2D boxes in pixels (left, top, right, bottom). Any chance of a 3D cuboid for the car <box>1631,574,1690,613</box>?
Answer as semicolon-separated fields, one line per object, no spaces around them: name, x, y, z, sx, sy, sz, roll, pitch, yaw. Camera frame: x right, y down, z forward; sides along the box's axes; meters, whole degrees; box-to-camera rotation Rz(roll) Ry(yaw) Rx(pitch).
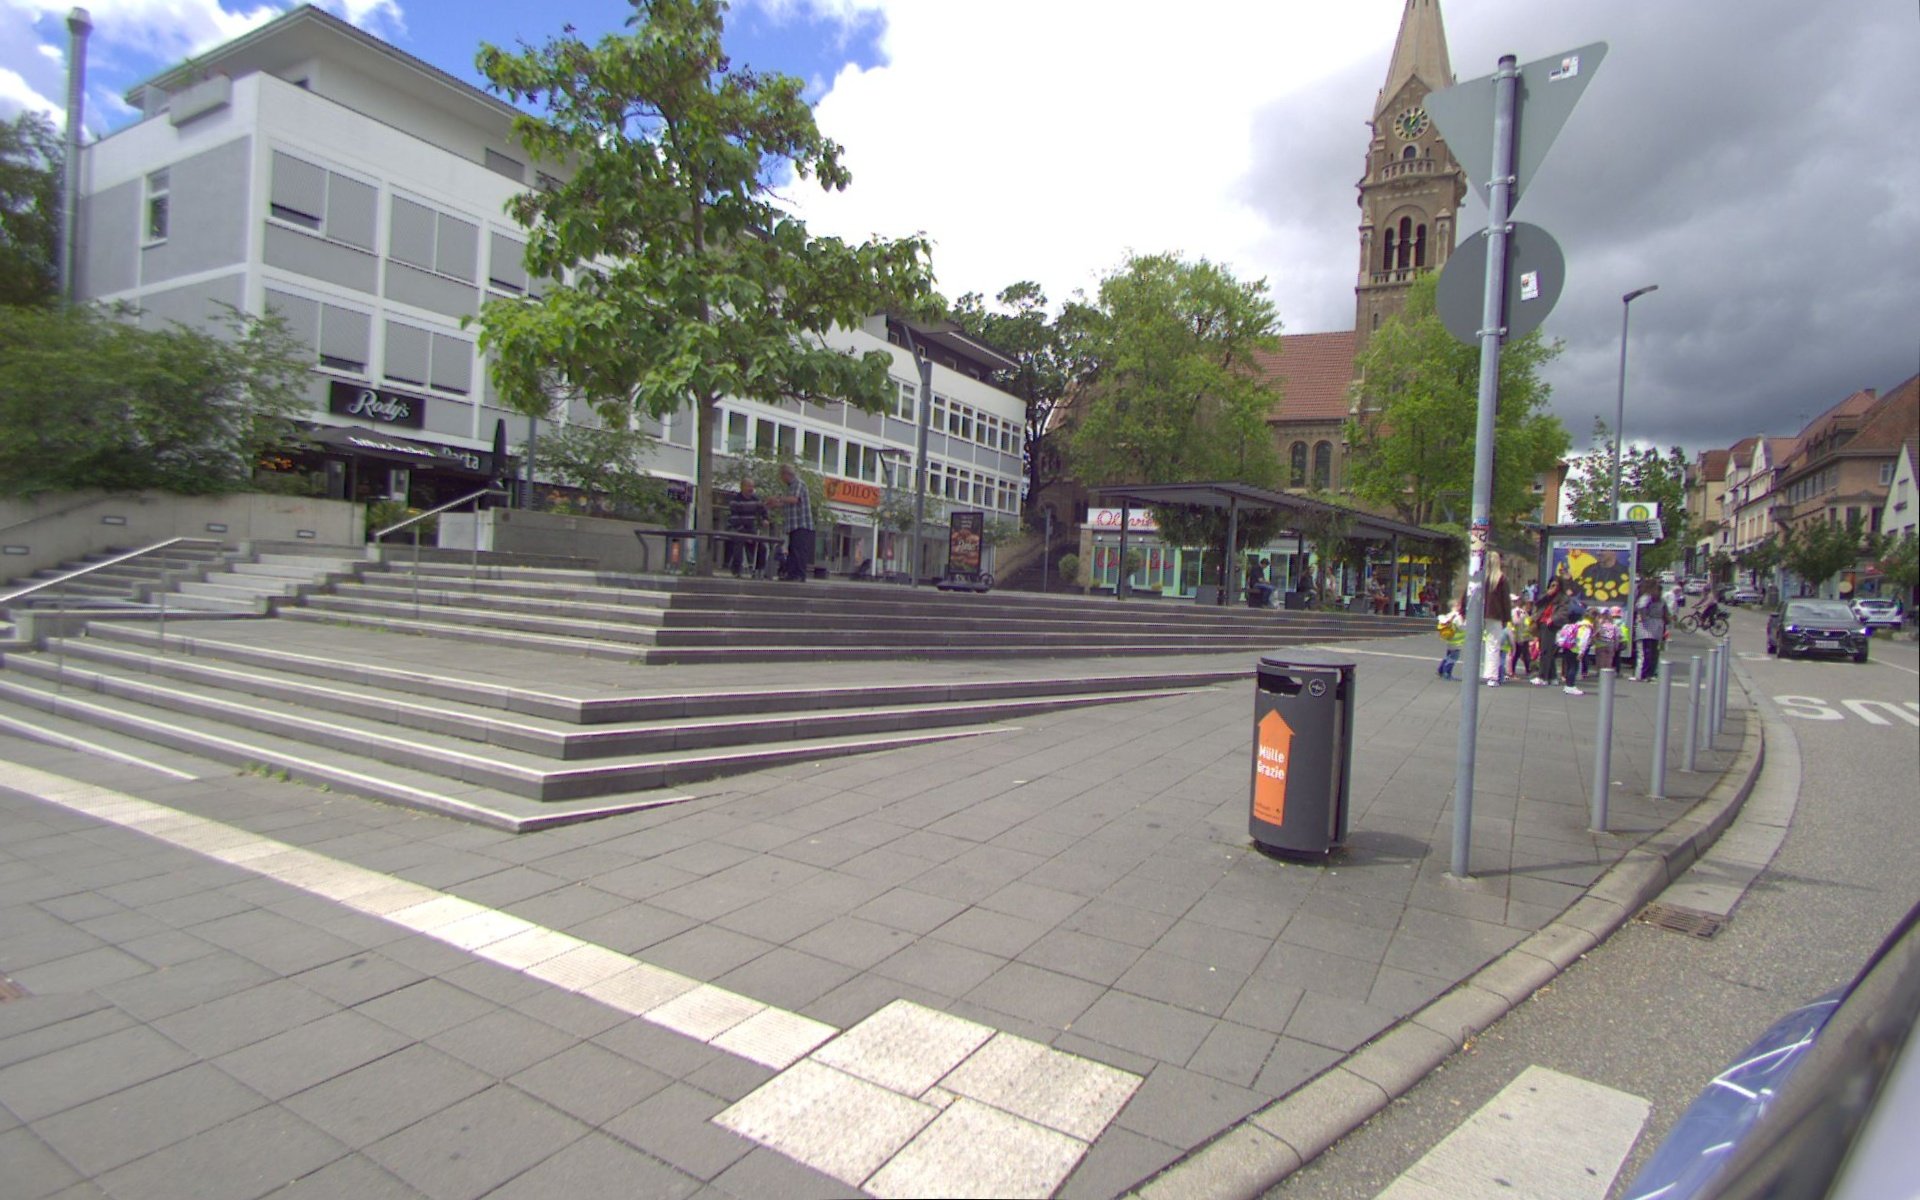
car;34.867;-0.377;50.485;1.919;1.745;4.527;4;3;29

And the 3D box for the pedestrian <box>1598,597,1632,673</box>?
pedestrian;10.392;0.553;16.061;0.259;1.175;0.271;3;2;-5

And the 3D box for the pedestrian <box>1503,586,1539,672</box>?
pedestrian;8.408;0.426;15.168;0.323;1.252;0.329;6;4;39

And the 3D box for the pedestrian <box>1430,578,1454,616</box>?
pedestrian;16.692;-0.104;35.046;0.568;1.278;0.533;4;0;40

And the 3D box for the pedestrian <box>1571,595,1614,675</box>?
pedestrian;9.678;0.533;15.498;0.330;1.180;0.351;4;4;4

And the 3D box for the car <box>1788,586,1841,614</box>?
car;50.574;-0.008;59.967;1.649;1.409;4.396;2;3;31

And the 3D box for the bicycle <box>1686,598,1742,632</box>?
bicycle;29.123;0.558;39.100;1.624;1.099;0.414;6;6;2

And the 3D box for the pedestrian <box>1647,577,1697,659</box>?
pedestrian;14.066;0.341;20.003;0.476;1.568;0.545;2;2;-10

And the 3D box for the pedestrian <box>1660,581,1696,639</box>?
pedestrian;21.766;0.301;30.682;0.702;1.702;0.685;1;2;-43

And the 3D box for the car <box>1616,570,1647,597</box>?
car;52.510;-1.345;79.081;1.879;1.869;4.969;4;5;34

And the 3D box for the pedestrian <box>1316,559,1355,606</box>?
pedestrian;10.575;-0.499;28.527;0.662;1.285;0.773;1;1;-16

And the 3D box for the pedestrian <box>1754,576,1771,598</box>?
pedestrian;63.562;-1.062;80.172;0.865;1.686;0.898;2;3;28

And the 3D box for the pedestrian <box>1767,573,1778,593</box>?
pedestrian;63.173;-1.315;78.661;0.493;1.495;0.523;2;3;28

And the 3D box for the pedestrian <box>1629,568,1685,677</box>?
pedestrian;10.894;0.345;15.824;0.459;1.639;0.389;3;2;-6

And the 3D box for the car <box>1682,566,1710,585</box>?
car;71.954;-2.386;98.964;1.719;1.700;3.952;3;4;30

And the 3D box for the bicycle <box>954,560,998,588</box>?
bicycle;0.787;-1.240;48.295;1.991;1.156;0.687;5;2;3

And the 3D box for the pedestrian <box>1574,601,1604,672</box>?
pedestrian;9.833;0.571;15.811;0.246;1.082;0.252;2;3;-38

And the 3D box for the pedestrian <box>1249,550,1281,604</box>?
pedestrian;7.744;-0.577;25.672;0.536;1.340;0.568;1;1;-44

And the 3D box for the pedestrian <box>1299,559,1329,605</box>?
pedestrian;9.803;-0.494;28.027;0.557;1.243;0.568;1;1;-44

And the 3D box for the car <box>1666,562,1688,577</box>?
car;80.693;-3.430;113.946;1.677;1.542;3.493;3;4;30

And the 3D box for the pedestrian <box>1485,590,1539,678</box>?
pedestrian;7.859;0.478;14.417;0.500;1.213;0.391;2;3;-29

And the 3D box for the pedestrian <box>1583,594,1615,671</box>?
pedestrian;10.094;0.509;15.990;0.247;1.188;0.251;3;2;-6

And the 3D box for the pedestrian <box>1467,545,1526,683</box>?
pedestrian;7.427;0.185;14.014;0.538;1.845;0.430;5;3;35

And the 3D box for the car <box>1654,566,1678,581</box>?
car;70.559;-2.620;101.200;1.600;1.405;3.589;4;4;31

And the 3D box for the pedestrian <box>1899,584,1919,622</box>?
pedestrian;47.195;0.139;50.234;0.657;1.782;0.769;2;3;32

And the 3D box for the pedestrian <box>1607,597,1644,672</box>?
pedestrian;10.684;0.552;16.243;0.287;1.166;0.299;3;2;-13

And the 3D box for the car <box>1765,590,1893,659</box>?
car;23.099;0.583;27.060;1.880;1.542;3.698;1;3;30

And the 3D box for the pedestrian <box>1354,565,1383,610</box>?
pedestrian;12.562;-0.387;31.128;0.623;1.323;0.538;4;2;40

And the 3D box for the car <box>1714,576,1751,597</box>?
car;61.677;-1.108;80.842;1.654;1.544;3.926;1;3;28

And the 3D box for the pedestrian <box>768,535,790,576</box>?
pedestrian;-6.168;-1.514;34.519;0.560;1.340;0.544;2;1;10

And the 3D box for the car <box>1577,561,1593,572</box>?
car;85.124;-4.634;137.940;1.677;1.389;3.493;3;4;30

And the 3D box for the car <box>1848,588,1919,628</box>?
car;42.179;0.327;46.298;1.659;1.667;4.086;1;2;33

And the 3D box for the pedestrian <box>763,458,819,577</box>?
pedestrian;-2.225;-1.078;13.345;0.450;1.527;0.499;3;1;29

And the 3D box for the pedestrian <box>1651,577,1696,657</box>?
pedestrian;14.387;0.345;20.410;0.477;1.568;0.515;2;2;-28

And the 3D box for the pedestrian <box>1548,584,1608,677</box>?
pedestrian;9.329;0.451;15.298;0.425;1.319;0.599;4;3;2

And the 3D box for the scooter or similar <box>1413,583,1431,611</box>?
scooter or similar;15.670;-0.090;34.326;0.496;0.905;0.250;4;0;-24

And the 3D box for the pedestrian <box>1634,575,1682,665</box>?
pedestrian;12.692;0.356;18.403;0.494;1.585;0.495;3;2;16

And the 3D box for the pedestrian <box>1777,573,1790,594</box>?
pedestrian;63.625;-1.256;78.179;0.610;1.601;0.636;2;3;28

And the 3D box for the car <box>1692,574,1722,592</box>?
car;68.385;-1.599;92.701;1.719;1.448;3.468;3;4;30

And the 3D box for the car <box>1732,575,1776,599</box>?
car;58.291;-0.982;74.378;1.715;1.592;4.413;2;4;28

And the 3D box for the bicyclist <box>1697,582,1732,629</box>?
bicyclist;29.124;0.207;39.086;0.764;1.715;0.510;6;1;1

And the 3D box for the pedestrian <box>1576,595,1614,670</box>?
pedestrian;10.316;0.522;16.454;0.312;1.166;0.322;3;2;-3

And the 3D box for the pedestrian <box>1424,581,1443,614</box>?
pedestrian;16.200;-0.088;34.634;0.475;1.102;0.363;4;0;40

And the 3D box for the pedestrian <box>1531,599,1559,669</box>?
pedestrian;9.251;0.530;16.010;0.248;1.082;0.251;1;3;-43

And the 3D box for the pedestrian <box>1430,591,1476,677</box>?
pedestrian;6.972;0.470;14.311;0.438;1.162;0.377;5;3;40

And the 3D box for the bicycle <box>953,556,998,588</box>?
bicycle;0.738;-1.306;46.996;1.990;1.323;0.687;4;2;3

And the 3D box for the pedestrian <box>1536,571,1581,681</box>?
pedestrian;8.625;0.365;14.584;0.389;1.535;0.384;5;3;42

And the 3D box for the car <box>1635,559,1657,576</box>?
car;79.754;-3.835;117.687;1.739;1.824;4.167;5;4;31

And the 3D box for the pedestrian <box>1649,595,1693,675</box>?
pedestrian;11.420;0.562;16.252;0.380;1.241;0.404;2;2;-32

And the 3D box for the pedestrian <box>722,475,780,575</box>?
pedestrian;-2.825;-1.000;13.716;0.362;1.301;0.632;3;1;41

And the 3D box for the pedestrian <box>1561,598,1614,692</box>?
pedestrian;8.398;0.592;13.558;0.472;1.186;0.387;5;3;26
